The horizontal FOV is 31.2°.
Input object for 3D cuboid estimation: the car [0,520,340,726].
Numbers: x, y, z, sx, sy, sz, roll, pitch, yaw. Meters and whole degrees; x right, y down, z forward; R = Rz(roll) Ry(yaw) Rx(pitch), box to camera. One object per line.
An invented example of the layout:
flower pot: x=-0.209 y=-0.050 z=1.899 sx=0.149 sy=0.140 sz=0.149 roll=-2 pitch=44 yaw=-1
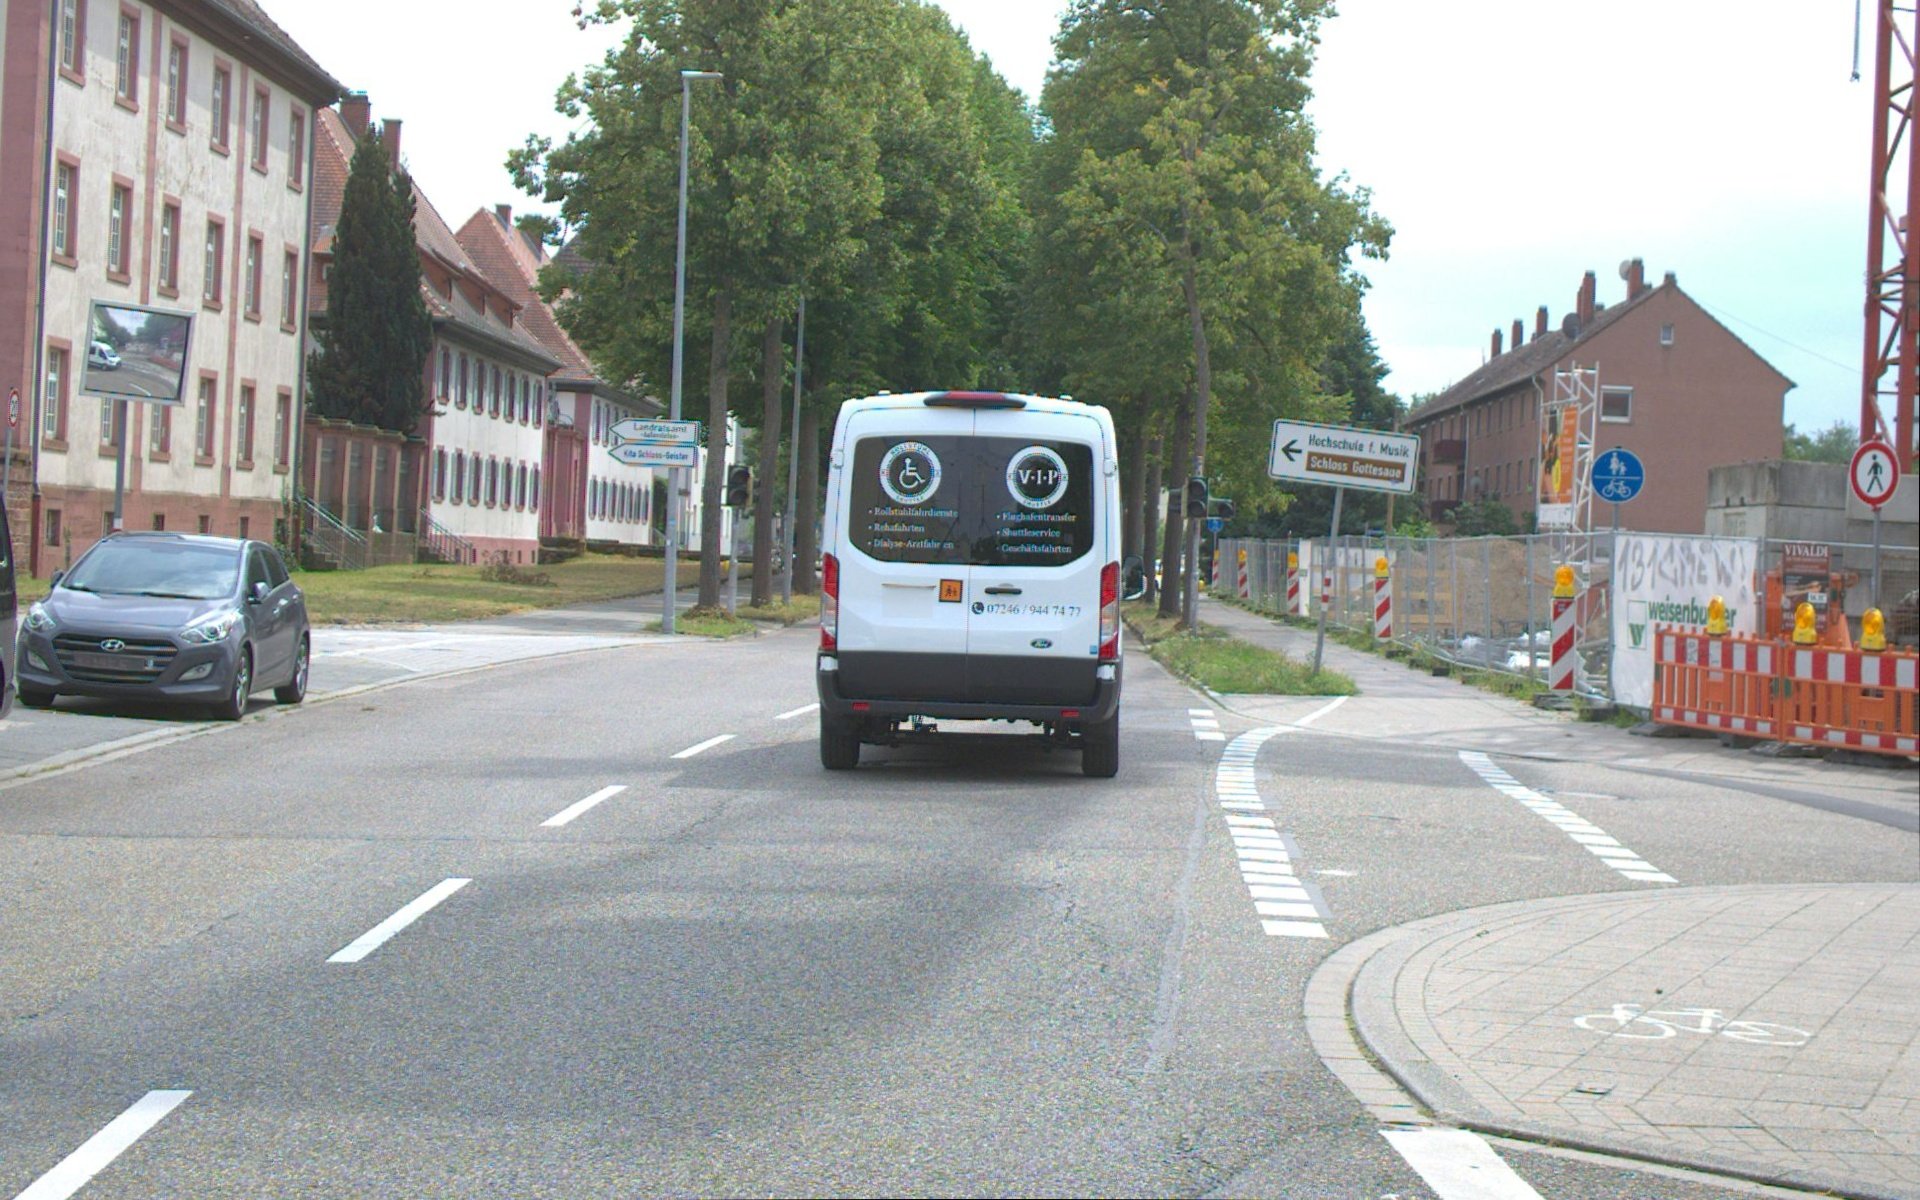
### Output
car: x=-6.590 y=0.151 z=29.125 sx=1.822 sy=1.468 sz=4.298 roll=5 pitch=1 yaw=-1

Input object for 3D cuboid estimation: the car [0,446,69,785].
car: x=-6.599 y=0.048 z=18.969 sx=1.949 sy=1.997 sz=4.844 roll=4 pitch=1 yaw=0

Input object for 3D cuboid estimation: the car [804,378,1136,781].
car: x=0.007 y=-0.137 z=23.946 sx=2.062 sy=2.531 sz=4.000 roll=1 pitch=0 yaw=-2
